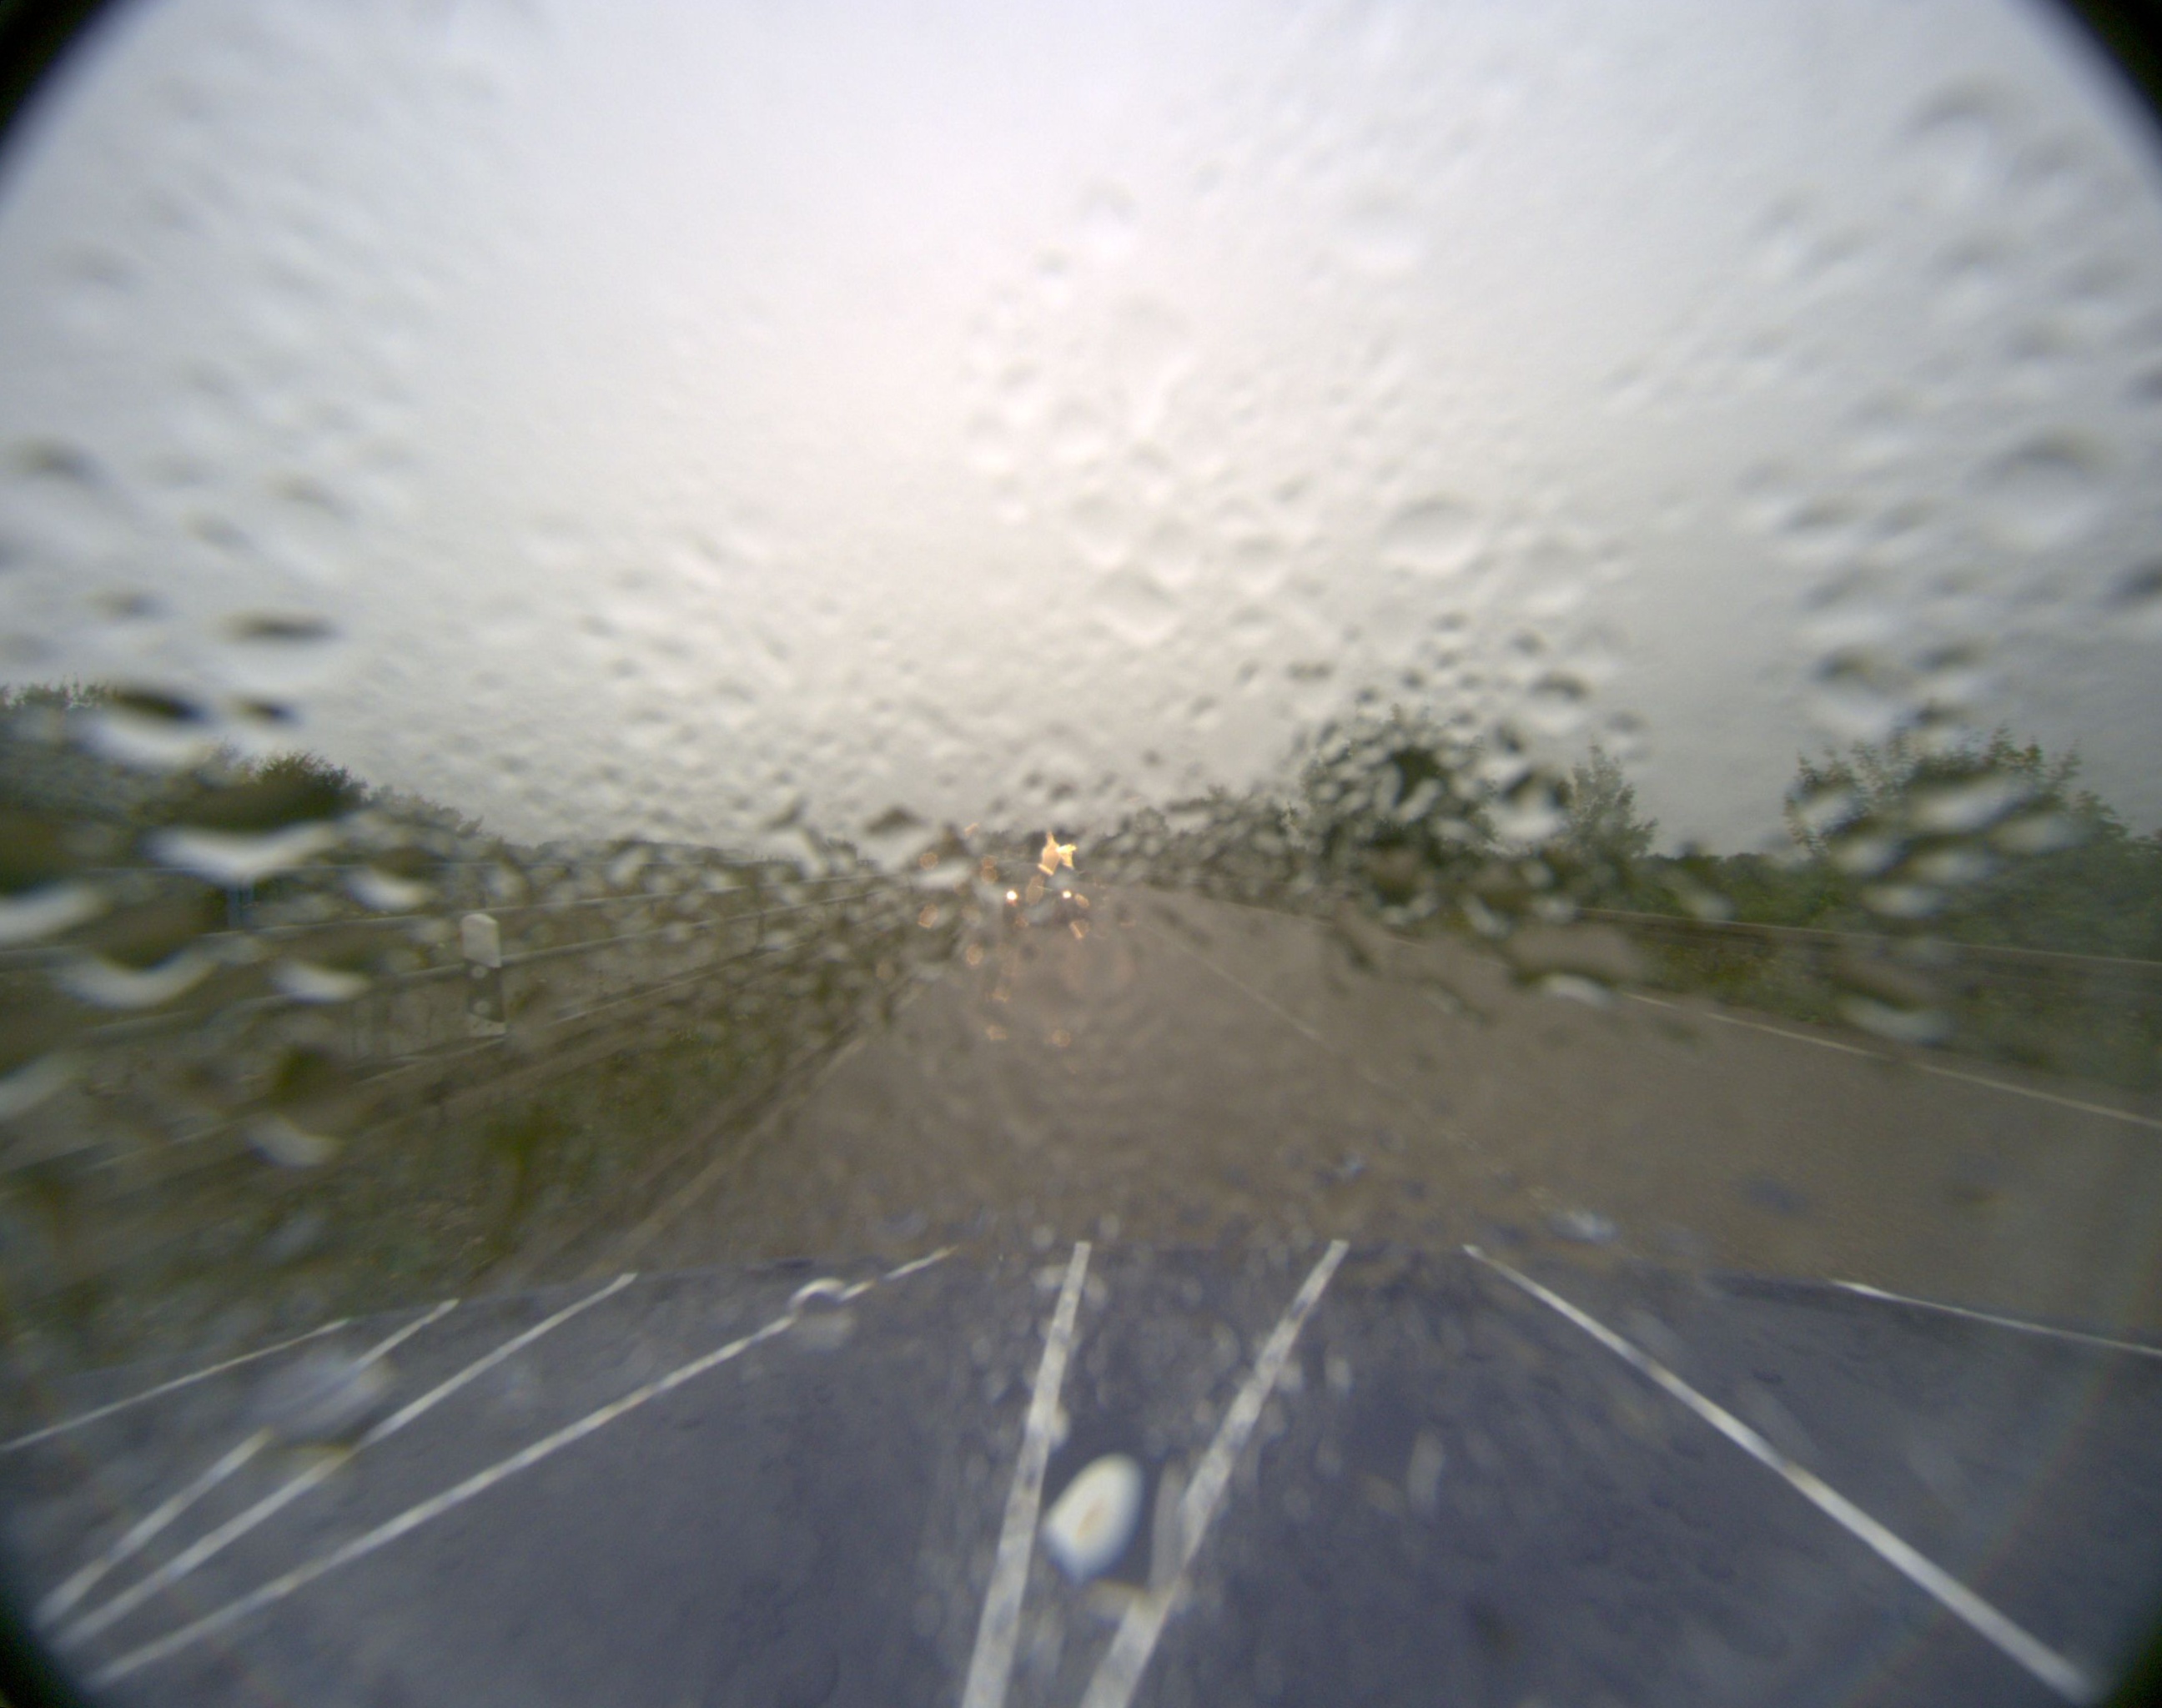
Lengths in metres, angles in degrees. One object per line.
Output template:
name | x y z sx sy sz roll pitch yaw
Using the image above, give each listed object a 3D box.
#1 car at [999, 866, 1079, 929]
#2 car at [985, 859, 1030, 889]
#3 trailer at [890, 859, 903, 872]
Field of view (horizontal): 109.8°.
car | -1.099 1.027 19.470 1.820 1.382 4.068 -1 0 -4
car | -3.785 0.971 38.751 1.821 1.382 4.065 -1 0 -12
trailer | -56.952 3.501 234.287 2.829 3.946 13.717 1 -1 -17
